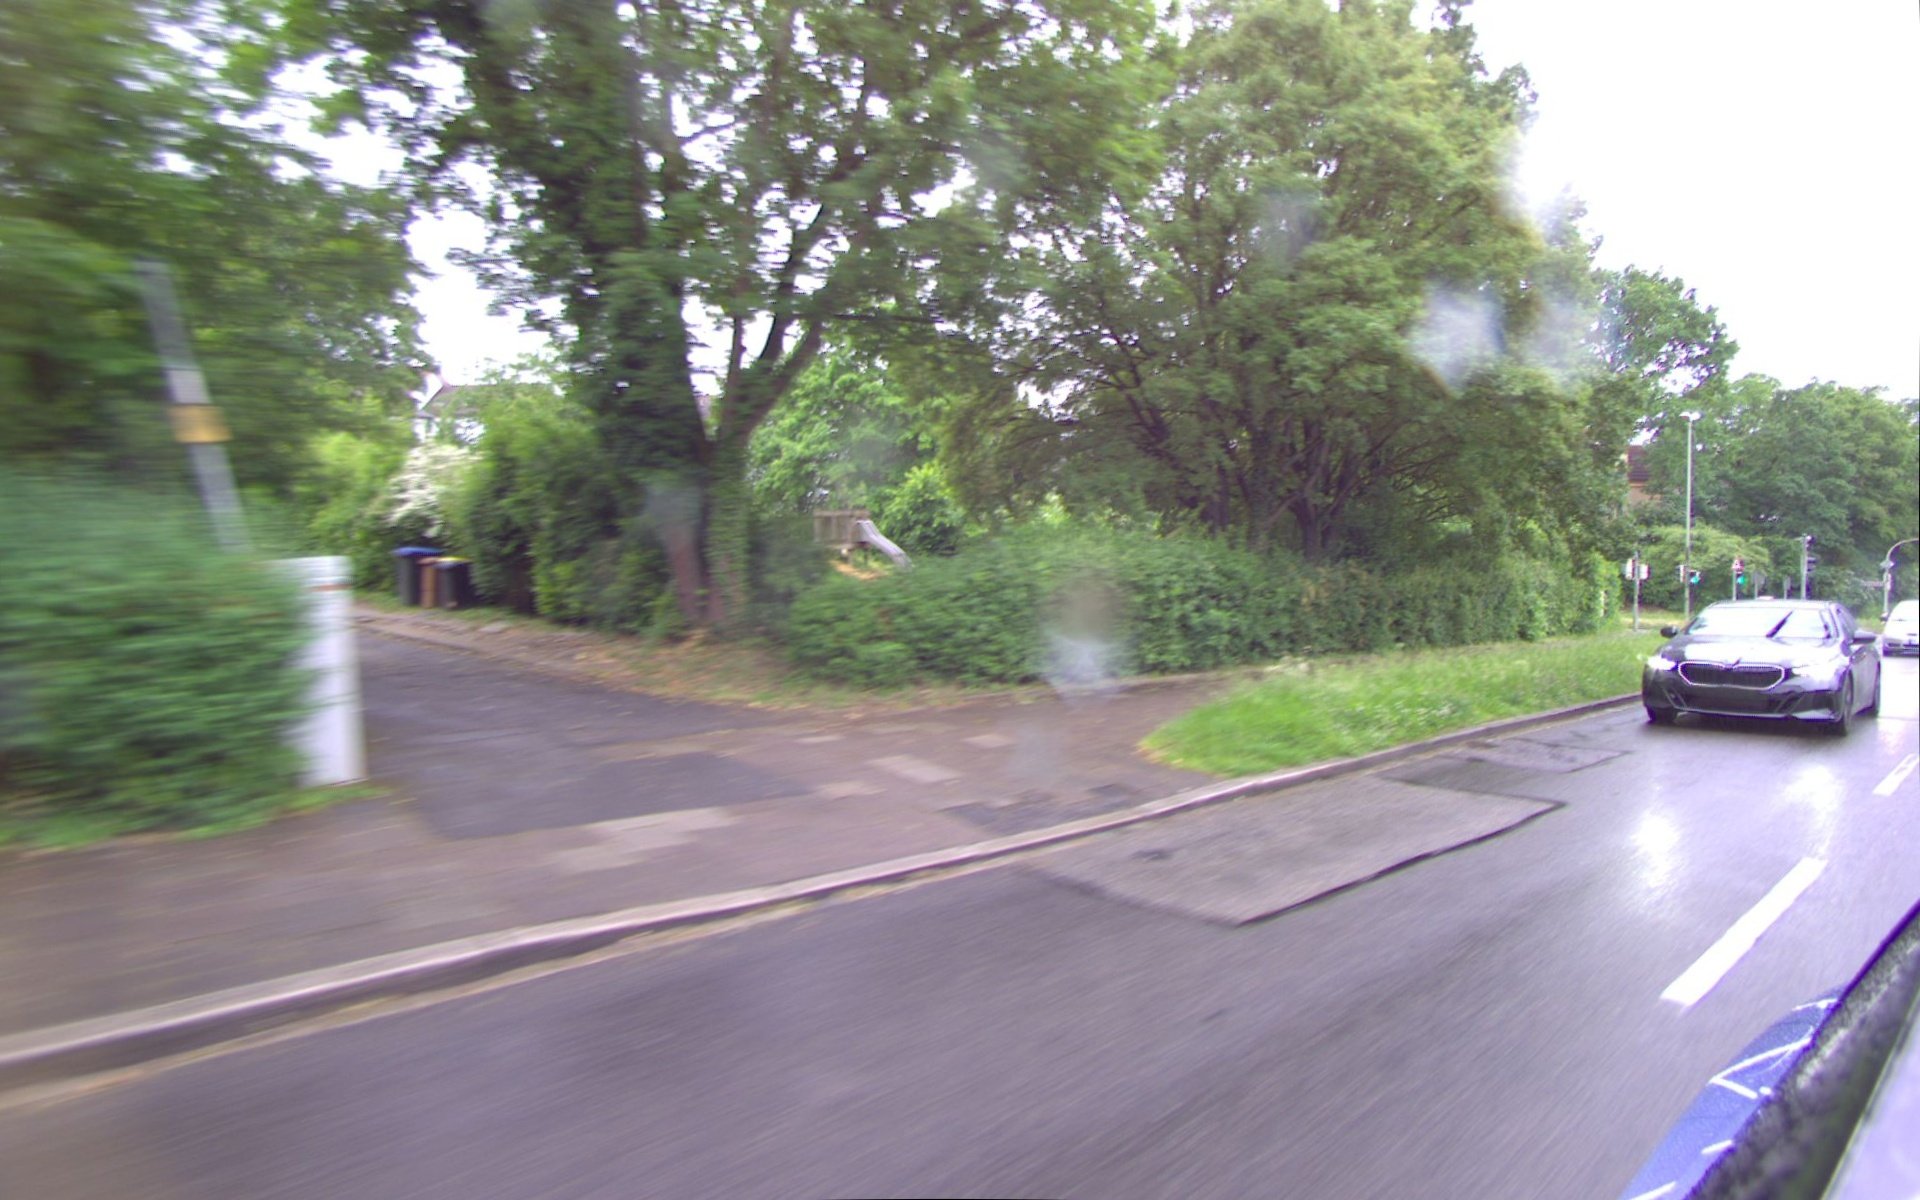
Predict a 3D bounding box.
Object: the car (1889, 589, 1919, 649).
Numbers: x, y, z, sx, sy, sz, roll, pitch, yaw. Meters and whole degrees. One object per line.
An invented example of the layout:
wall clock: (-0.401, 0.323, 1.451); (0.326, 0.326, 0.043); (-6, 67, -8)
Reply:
car: (27.353, 0.526, 28.136); (4.048, 1.575, 1.813); (0, 2, -42)

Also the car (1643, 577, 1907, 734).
car: (10.144, 0.537, 12.492); (4.049, 1.575, 1.866); (-1, 3, -42)
